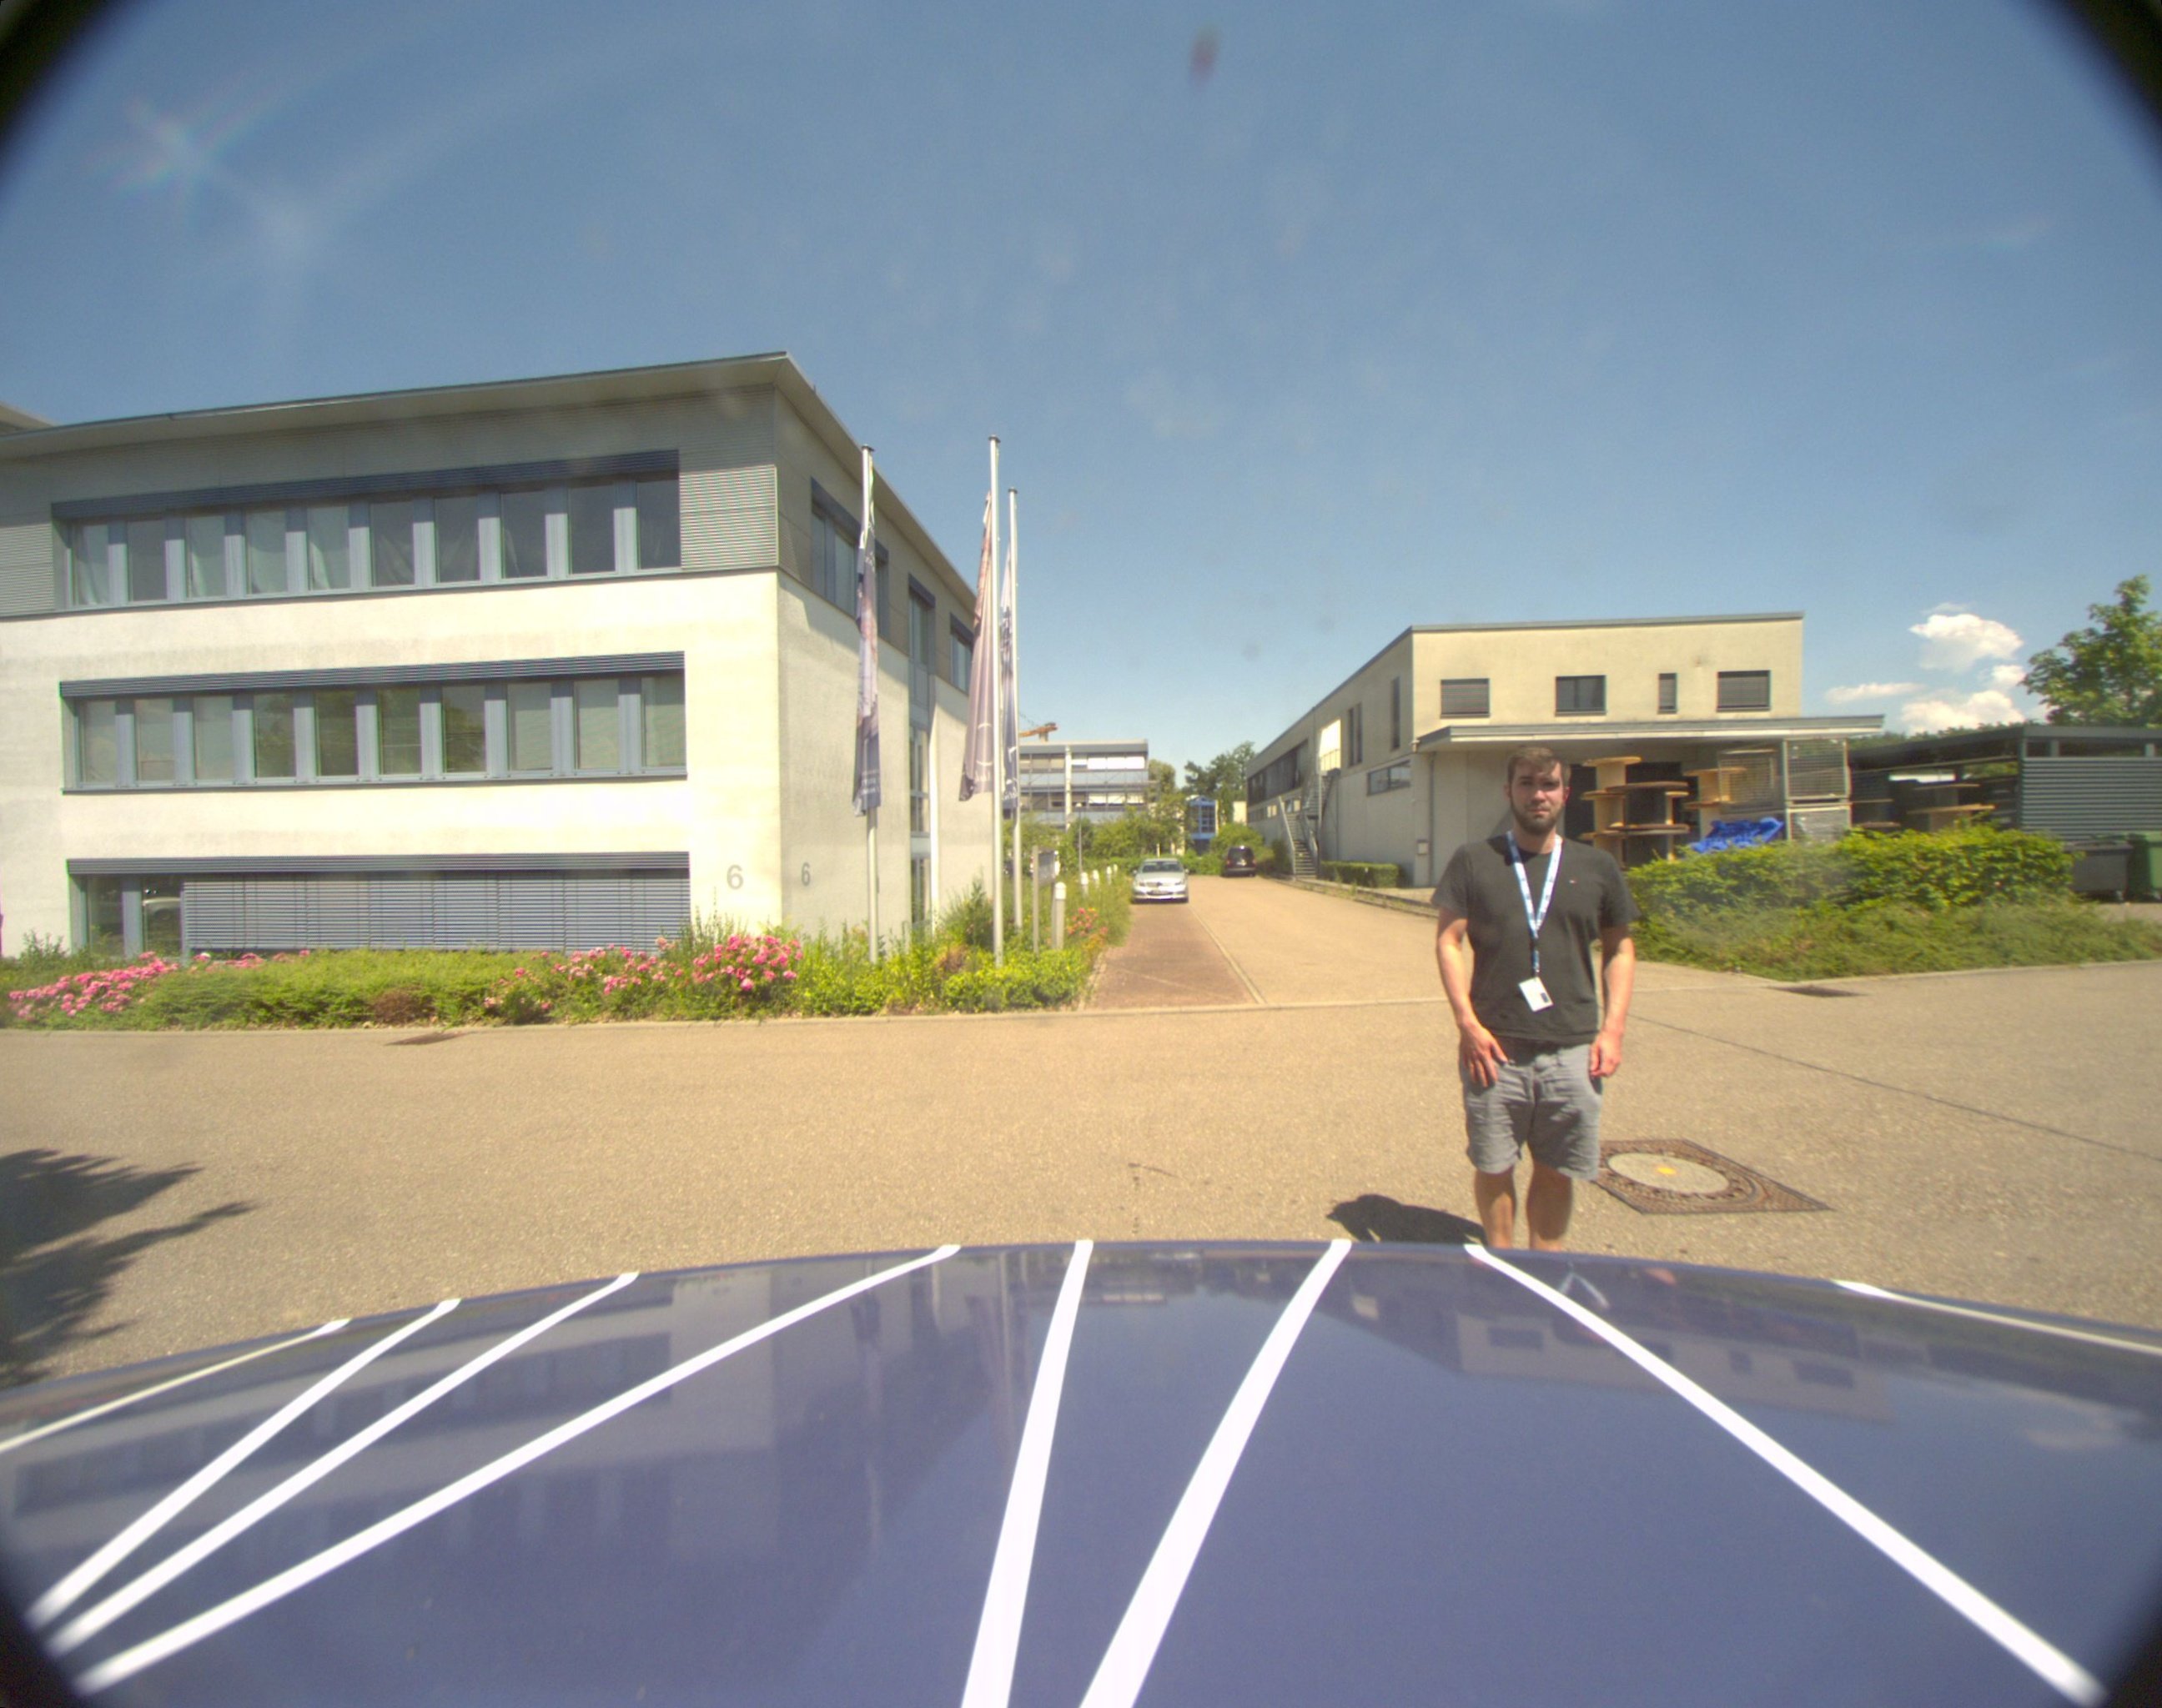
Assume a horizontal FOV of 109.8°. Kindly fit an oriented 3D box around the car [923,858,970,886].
[{"bbox_3d":[-8.220,1.067,46.783,1.787,1.537,4.001,-2,1,5],"label":"car"}]

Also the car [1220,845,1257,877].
[{"bbox_3d":[9.381,0.375,45.410,1.786,1.793,4.001,-2,1,7],"label":"car"}]

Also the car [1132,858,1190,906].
[{"bbox_3d":[2.736,0.889,25.370,1.710,1.383,3.813,-1,1,9],"label":"car"}]

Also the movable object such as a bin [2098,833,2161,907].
[{"bbox_3d":[20.129,0.292,14.223,1.071,1.329,0.760,-2,1,10],"label":"movable object such as a bin"}]

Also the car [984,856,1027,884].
[{"bbox_3d":[-4.558,0.934,46.407,1.787,1.537,4.001,-2,1,5],"label":"car"}]

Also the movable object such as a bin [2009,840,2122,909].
[{"bbox_3d":[18.823,0.385,14.552,1.071,1.264,0.760,-2,1,10],"label":"movable object such as a bin"}]

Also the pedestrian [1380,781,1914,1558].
[{"bbox_3d":[1.511,0.749,2.239,0.860,1.809,0.904,-2,1,1],"label":"pedestrian"}]

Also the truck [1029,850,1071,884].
[{"bbox_3d":[-1.799,0.720,45.399,1.998,1.882,4.001,-2,0,4],"label":"truck"}]
